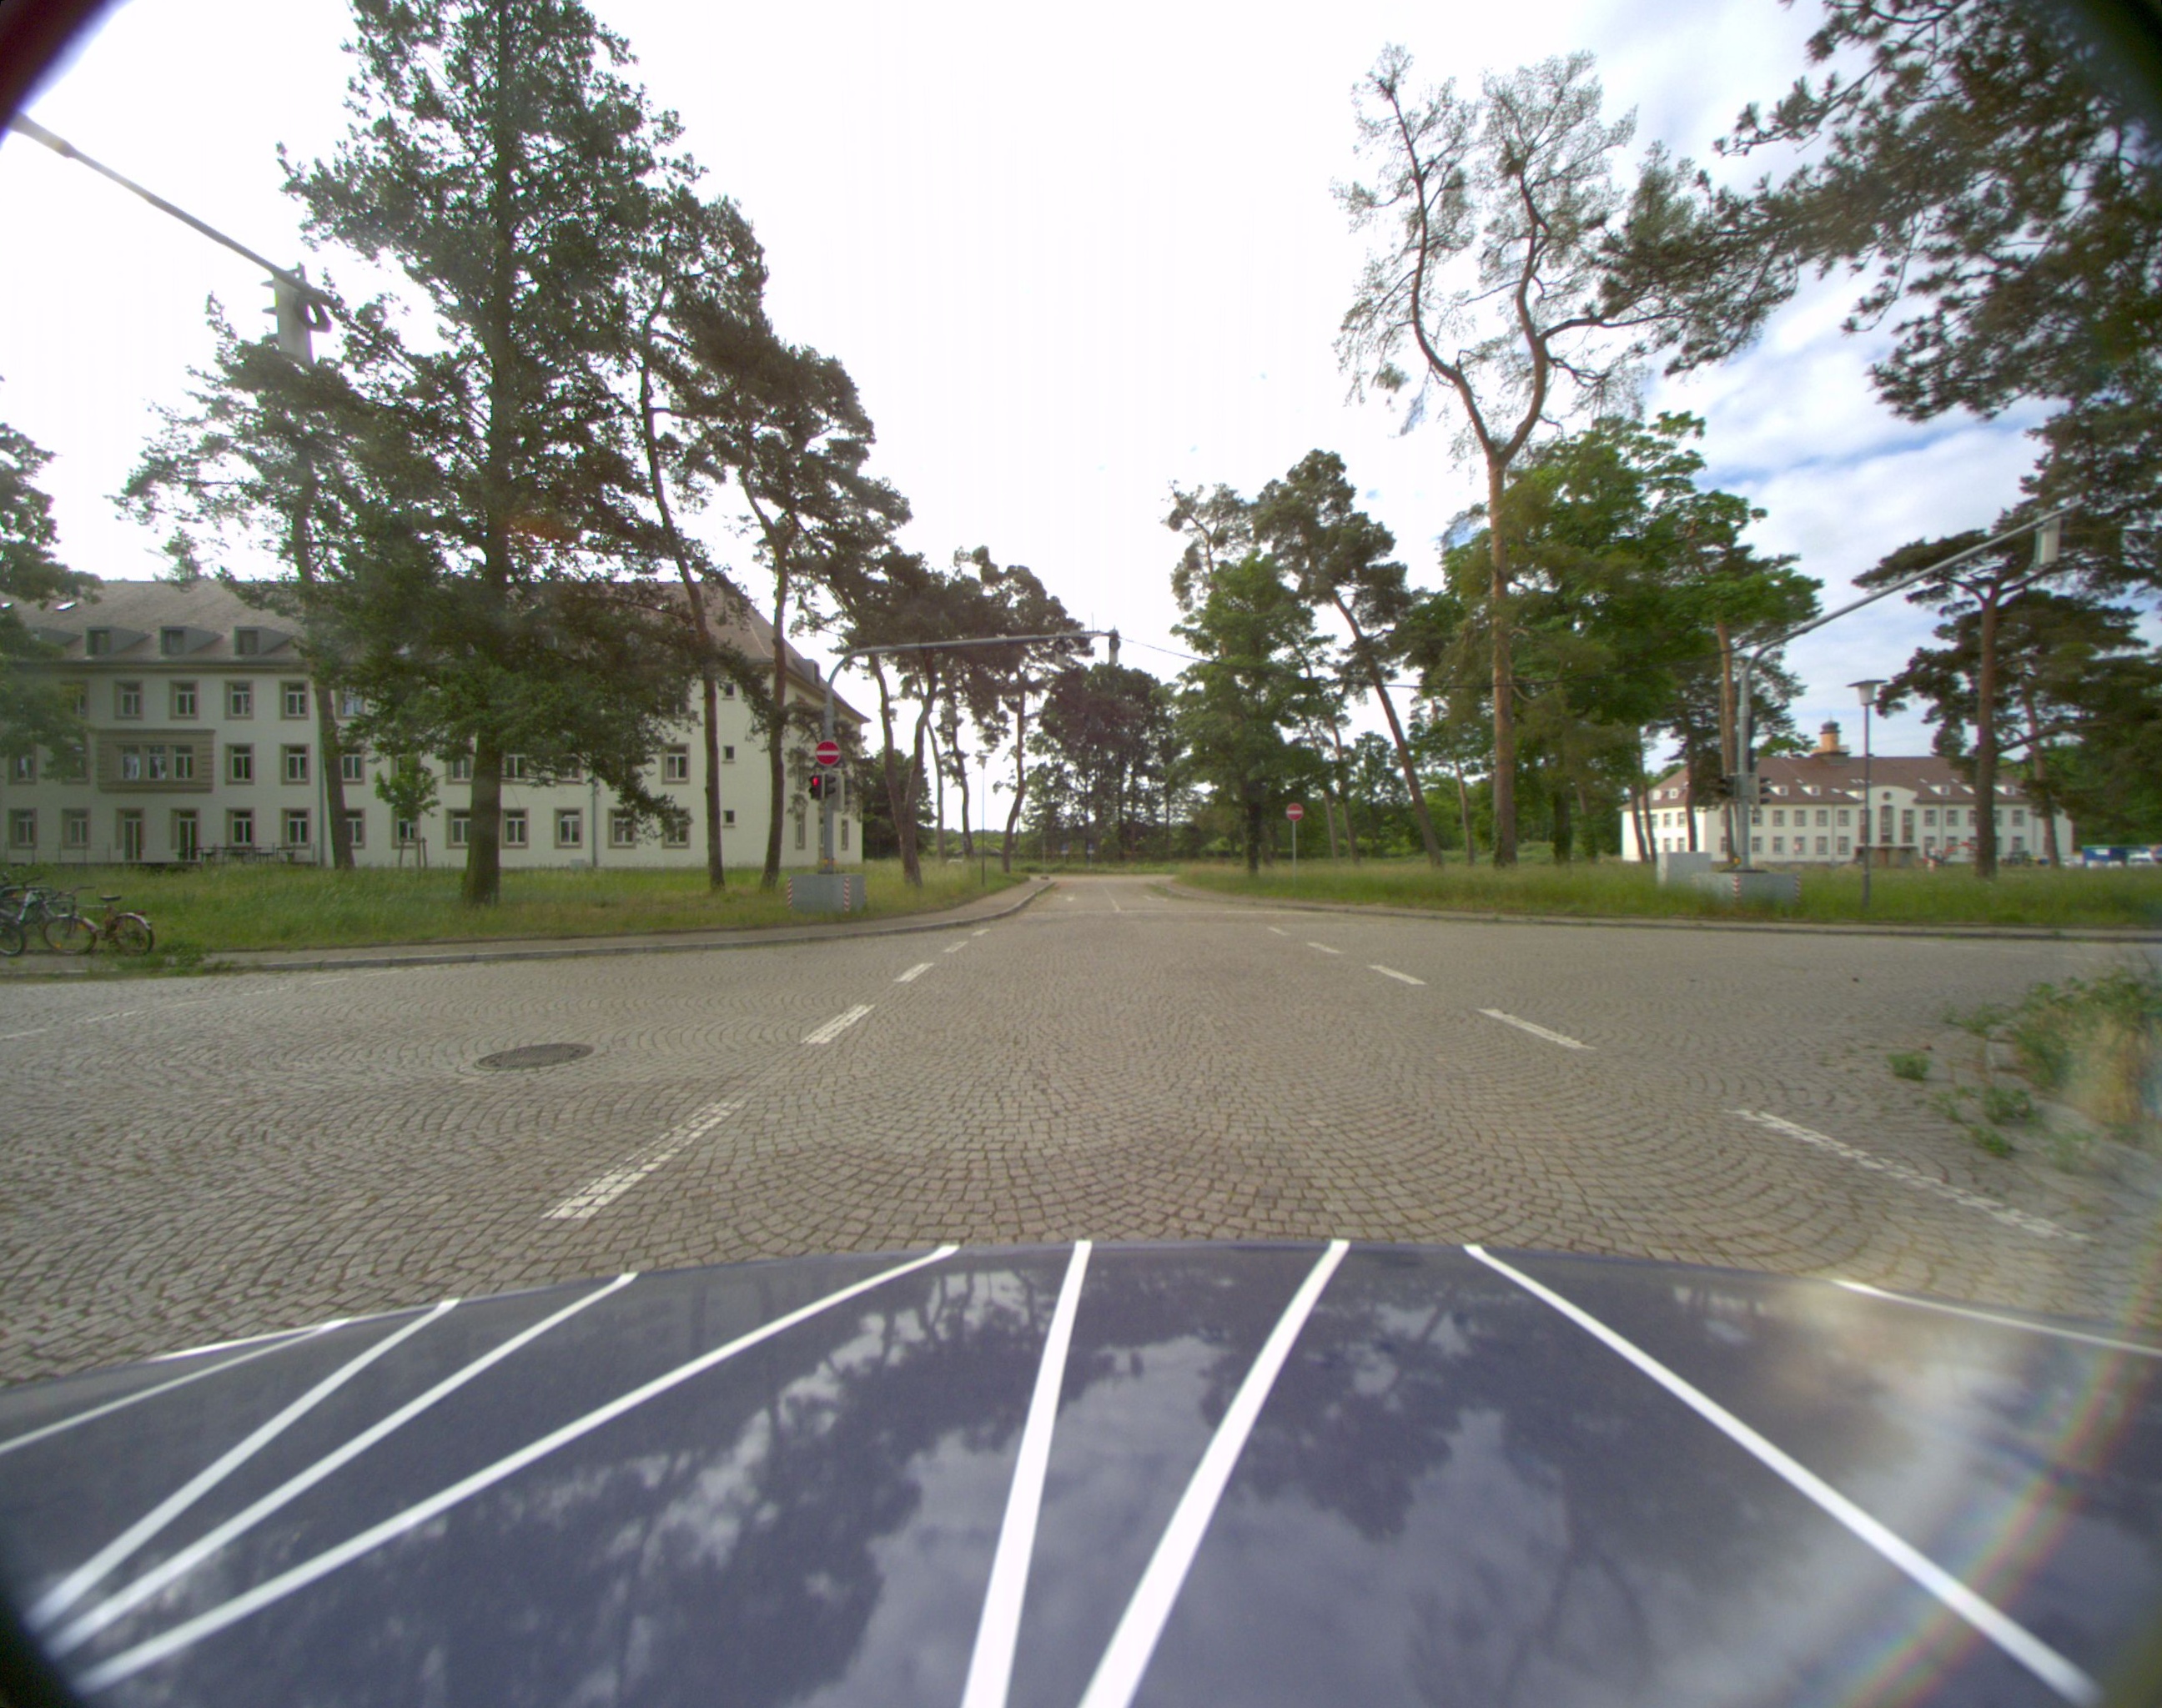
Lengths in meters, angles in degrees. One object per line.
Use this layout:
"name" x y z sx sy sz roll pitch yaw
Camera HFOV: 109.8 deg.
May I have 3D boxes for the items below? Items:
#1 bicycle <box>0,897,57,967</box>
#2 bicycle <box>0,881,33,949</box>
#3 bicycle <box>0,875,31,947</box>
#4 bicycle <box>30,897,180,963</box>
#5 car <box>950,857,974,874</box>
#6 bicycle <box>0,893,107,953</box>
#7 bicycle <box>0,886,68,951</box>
"bicycle" -16.896 1.192 11.676 1.540 1.008 0.543 0 0 0
"bicycle" -19.667 1.107 13.198 0.542 1.208 1.639 0 0 6
"bicycle" -20.172 1.056 13.363 0.438 1.312 2.048 0 0 6
"bicycle" -15.140 1.168 11.808 1.625 0.974 0.530 0 0 0
"car" -10.850 1.021 69.318 1.641 1.426 3.277 0 2 1
"bicycle" -18.431 1.195 13.166 0.542 0.943 1.903 0 0 6
"bicycle" -19.087 1.139 13.120 0.542 1.095 1.903 0 0 6
